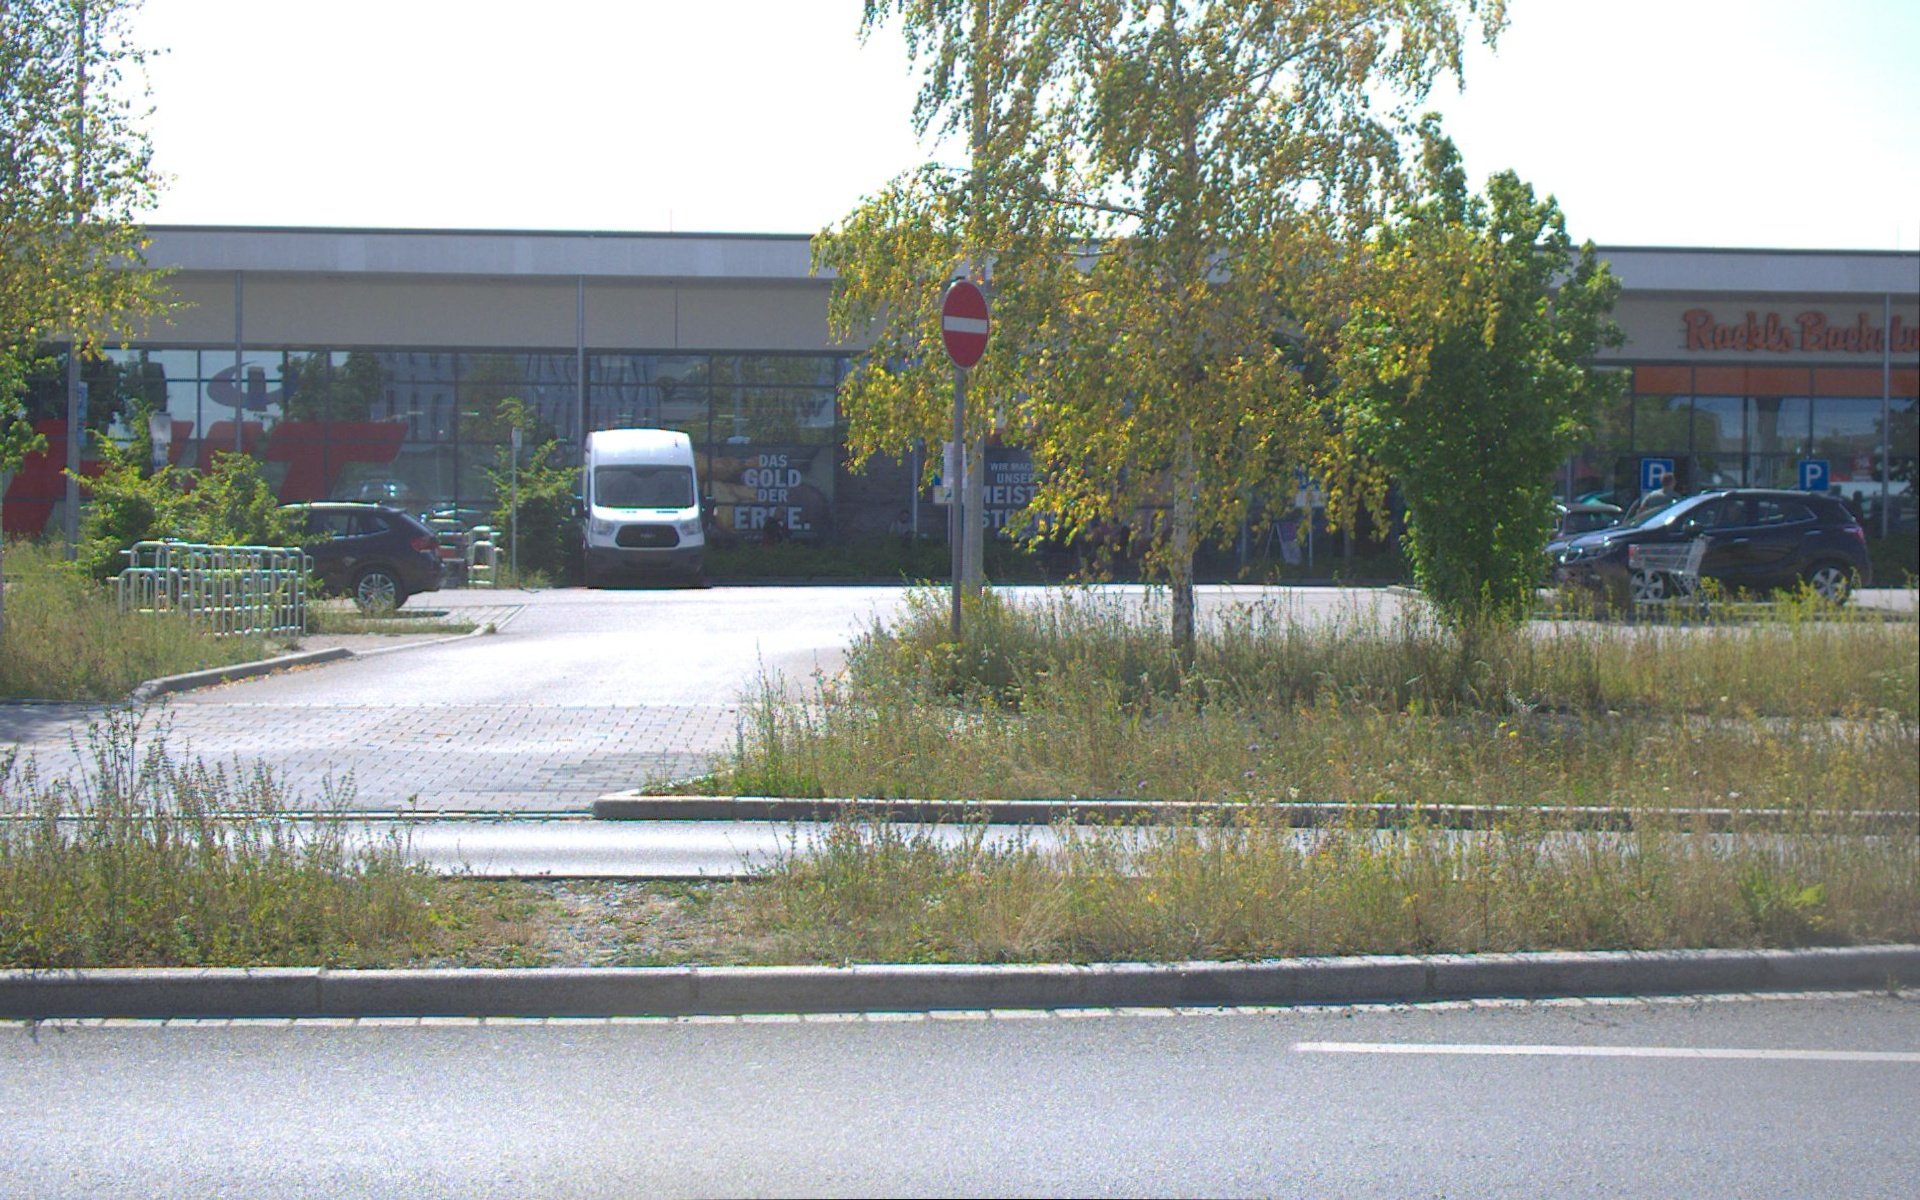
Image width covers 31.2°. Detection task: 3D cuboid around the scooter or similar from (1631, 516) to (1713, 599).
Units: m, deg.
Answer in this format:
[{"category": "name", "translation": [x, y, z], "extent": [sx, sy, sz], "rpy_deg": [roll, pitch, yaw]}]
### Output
[{"category": "scooter or similar", "translation": [9.502, -0.570, 45.914], "extent": [0.943, 1.075, 0.652], "rpy_deg": [1, 2, 0]}]

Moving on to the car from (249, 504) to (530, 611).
[{"category": "car", "translation": [-8.025, -0.614, 48.603], "extent": [3.831, 1.418, 1.773], "rpy_deg": [1, 1, -8]}]

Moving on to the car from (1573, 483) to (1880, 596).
[{"category": "car", "translation": [10.594, -0.849, 47.643], "extent": [3.793, 1.503, 1.732], "rpy_deg": [0, 2, -4]}]

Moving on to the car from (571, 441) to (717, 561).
[{"category": "car", "translation": [-5.623, -1.764, 60.359], "extent": [2.222, 1.970, 6.698], "rpy_deg": [0, 2, -8]}]
